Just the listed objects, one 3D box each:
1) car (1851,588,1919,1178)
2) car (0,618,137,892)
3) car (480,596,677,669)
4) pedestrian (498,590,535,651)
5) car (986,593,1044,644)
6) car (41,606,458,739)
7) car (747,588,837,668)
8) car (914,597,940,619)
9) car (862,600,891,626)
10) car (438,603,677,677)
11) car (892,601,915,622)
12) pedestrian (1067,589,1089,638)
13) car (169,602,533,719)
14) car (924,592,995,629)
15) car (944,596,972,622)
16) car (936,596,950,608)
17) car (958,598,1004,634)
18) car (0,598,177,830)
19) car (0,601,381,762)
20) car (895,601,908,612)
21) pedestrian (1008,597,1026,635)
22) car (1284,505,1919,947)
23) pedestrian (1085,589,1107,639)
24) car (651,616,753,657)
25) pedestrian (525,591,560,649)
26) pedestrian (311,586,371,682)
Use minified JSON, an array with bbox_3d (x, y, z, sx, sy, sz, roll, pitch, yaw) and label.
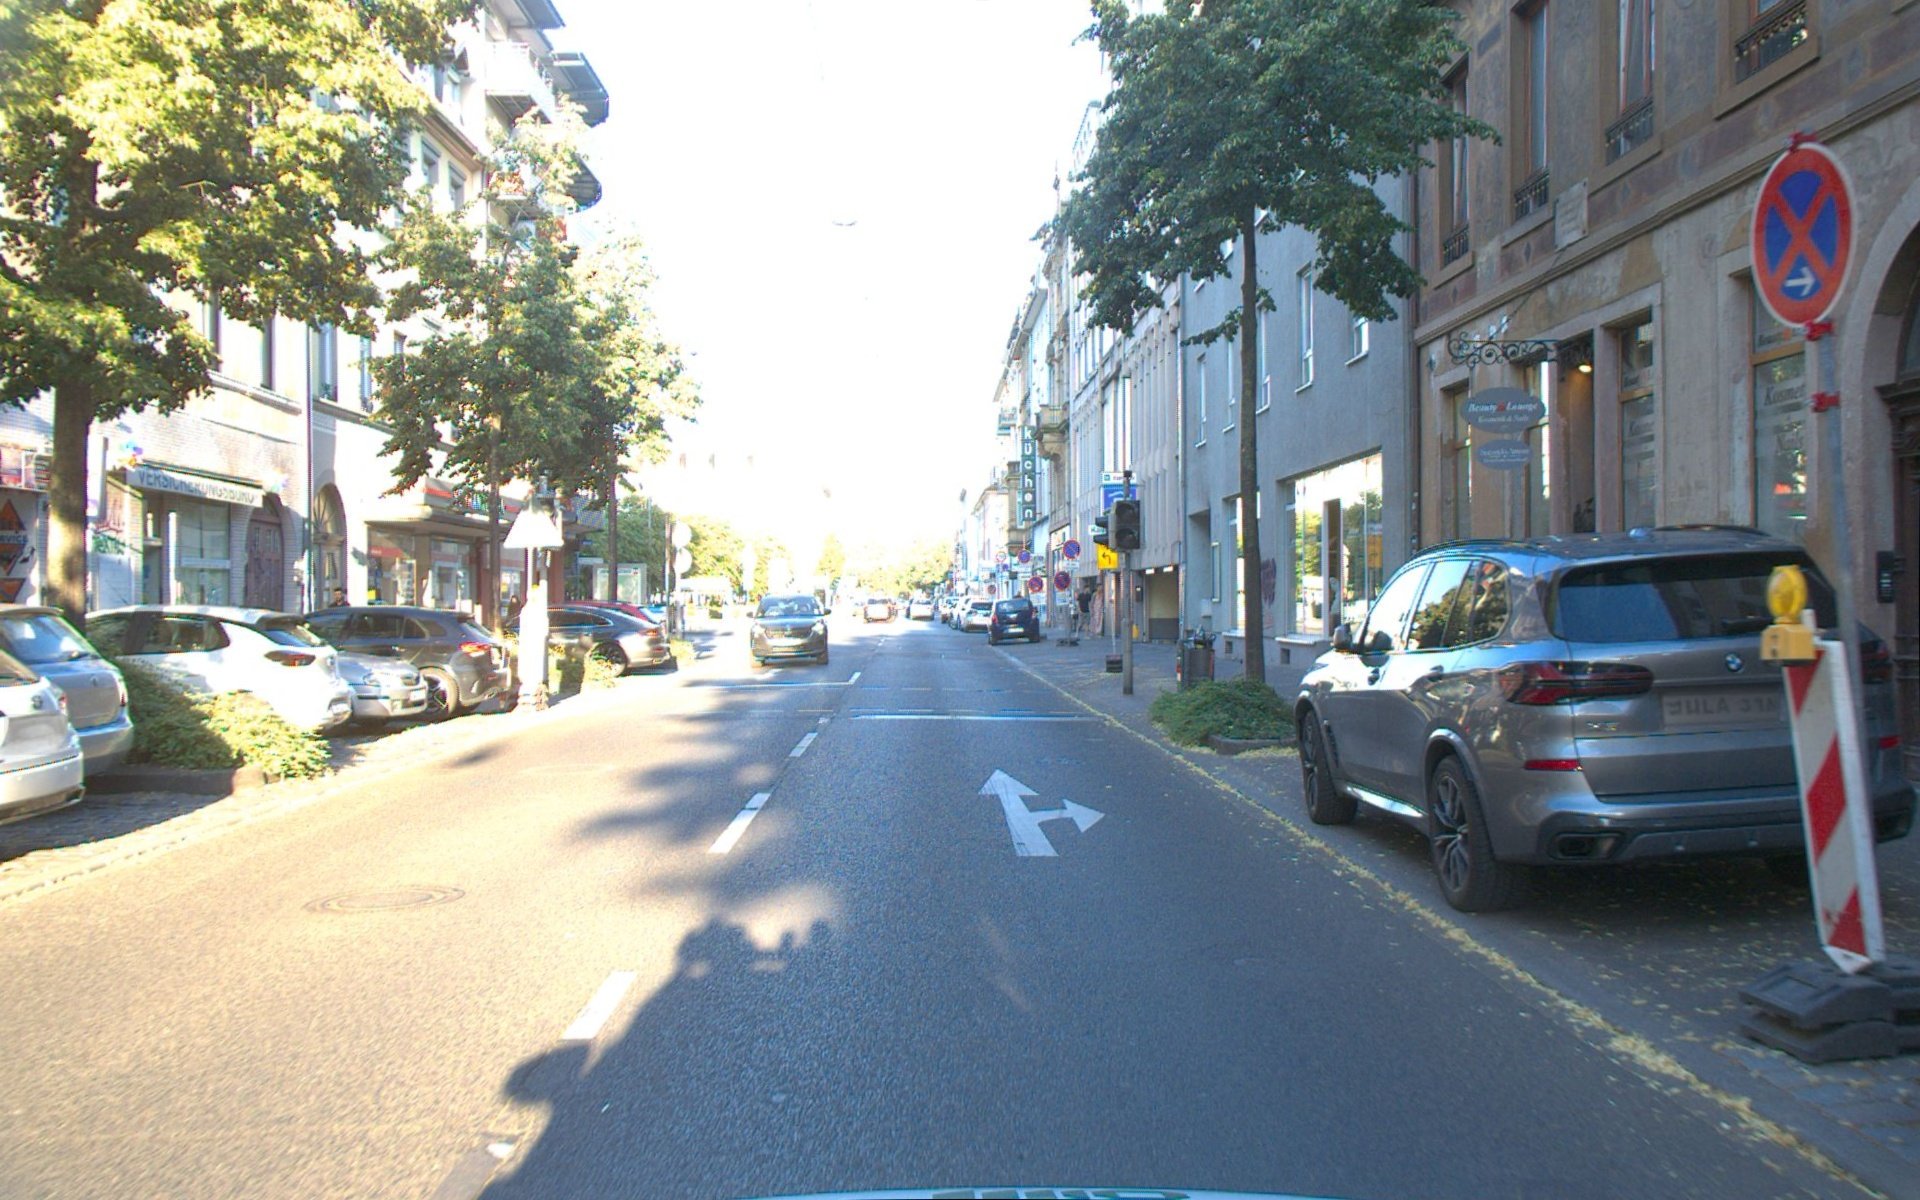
[{"bbox_3d":[3.382,0.694,2.551,1.695,1.513,3.898,-3,0,-3],"label":"car"},{"bbox_3d":[-7.233,0.829,9.521,4.067,1.446,1.765,0,0,-4],"label":"car"},{"bbox_3d":[-8.491,0.710,37.078,3.990,1.563,1.883,0,0,-2],"label":"car"},{"bbox_3d":[-12.082,0.561,45.047,0.756,1.636,0.875,1,-2,-2],"label":"pedestrian"},{"bbox_3d":[1.852,0.609,57.055,1.723,1.563,3.999,-4,0,-1],"label":"car"},{"bbox_3d":[-8.100,0.799,19.124,4.013,1.428,1.843,0,0,0],"label":"car"},{"bbox_3d":[-3.961,0.625,39.649,1.824,1.721,4.459,-1,1,-2],"label":"car"},{"bbox_3d":[-2.480,0.593,123.672,1.858,1.609,3.998,1,0,-2],"label":"car"},{"bbox_3d":[-5.402,0.826,107.685,1.858,1.678,4.102,0,0,-2],"label":"car"},{"bbox_3d":[-8.191,0.799,33.944,4.479,1.432,1.820,1,0,-3],"label":"car"},{"bbox_3d":[-4.693,0.930,136.742,1.859,1.609,3.850,2,0,-2],"label":"car"},{"bbox_3d":[3.908,0.444,54.725,0.593,1.627,0.773,0,0,-6],"label":"pedestrian"},{"bbox_3d":[-7.763,0.753,21.421,4.025,1.428,1.882,0,0,-4],"label":"car"},{"bbox_3d":[-0.055,0.520,83.112,1.967,1.792,4.432,-1,0,-24],"label":"car"},{"bbox_3d":[-0.143,0.607,109.694,1.695,1.679,4.282,1,0,-2],"label":"car"},{"bbox_3d":[-2.378,0.259,228.860,1.858,1.609,3.850,0,0,-2],"label":"car"},{"bbox_3d":[0.923,0.727,75.558,1.724,1.563,4.817,1,-1,-4],"label":"car"},{"bbox_3d":[-7.720,0.746,11.735,3.485,1.528,1.715,0,0,-3],"label":"car"},{"bbox_3d":[-7.815,0.764,16.207,3.665,1.469,1.804,0,0,-5],"label":"car"},{"bbox_3d":[-8.180,0.909,231.711,1.744,1.574,3.998,0,0,-3],"label":"car"},{"bbox_3d":[2.835,0.780,81.960,0.757,1.859,1.010,-2,0,-2],"label":"pedestrian"},{"bbox_3d":[3.348,0.506,9.292,1.997,1.767,4.710,-3,0,-1],"label":"car"},{"bbox_3d":[4.509,0.465,54.791,0.593,1.627,0.773,0,0,-6],"label":"pedestrian"},{"bbox_3d":[-10.479,1.478,67.417,3.908,1.609,1.901,1,0,-4],"label":"car"},{"bbox_3d":[-11.411,0.548,45.266,0.719,1.555,0.875,1,-2,-2],"label":"pedestrian"},{"bbox_3d":[-11.477,0.632,30.698,0.756,1.752,0.875,1,-2,-2],"label":"pedestrian"}]
